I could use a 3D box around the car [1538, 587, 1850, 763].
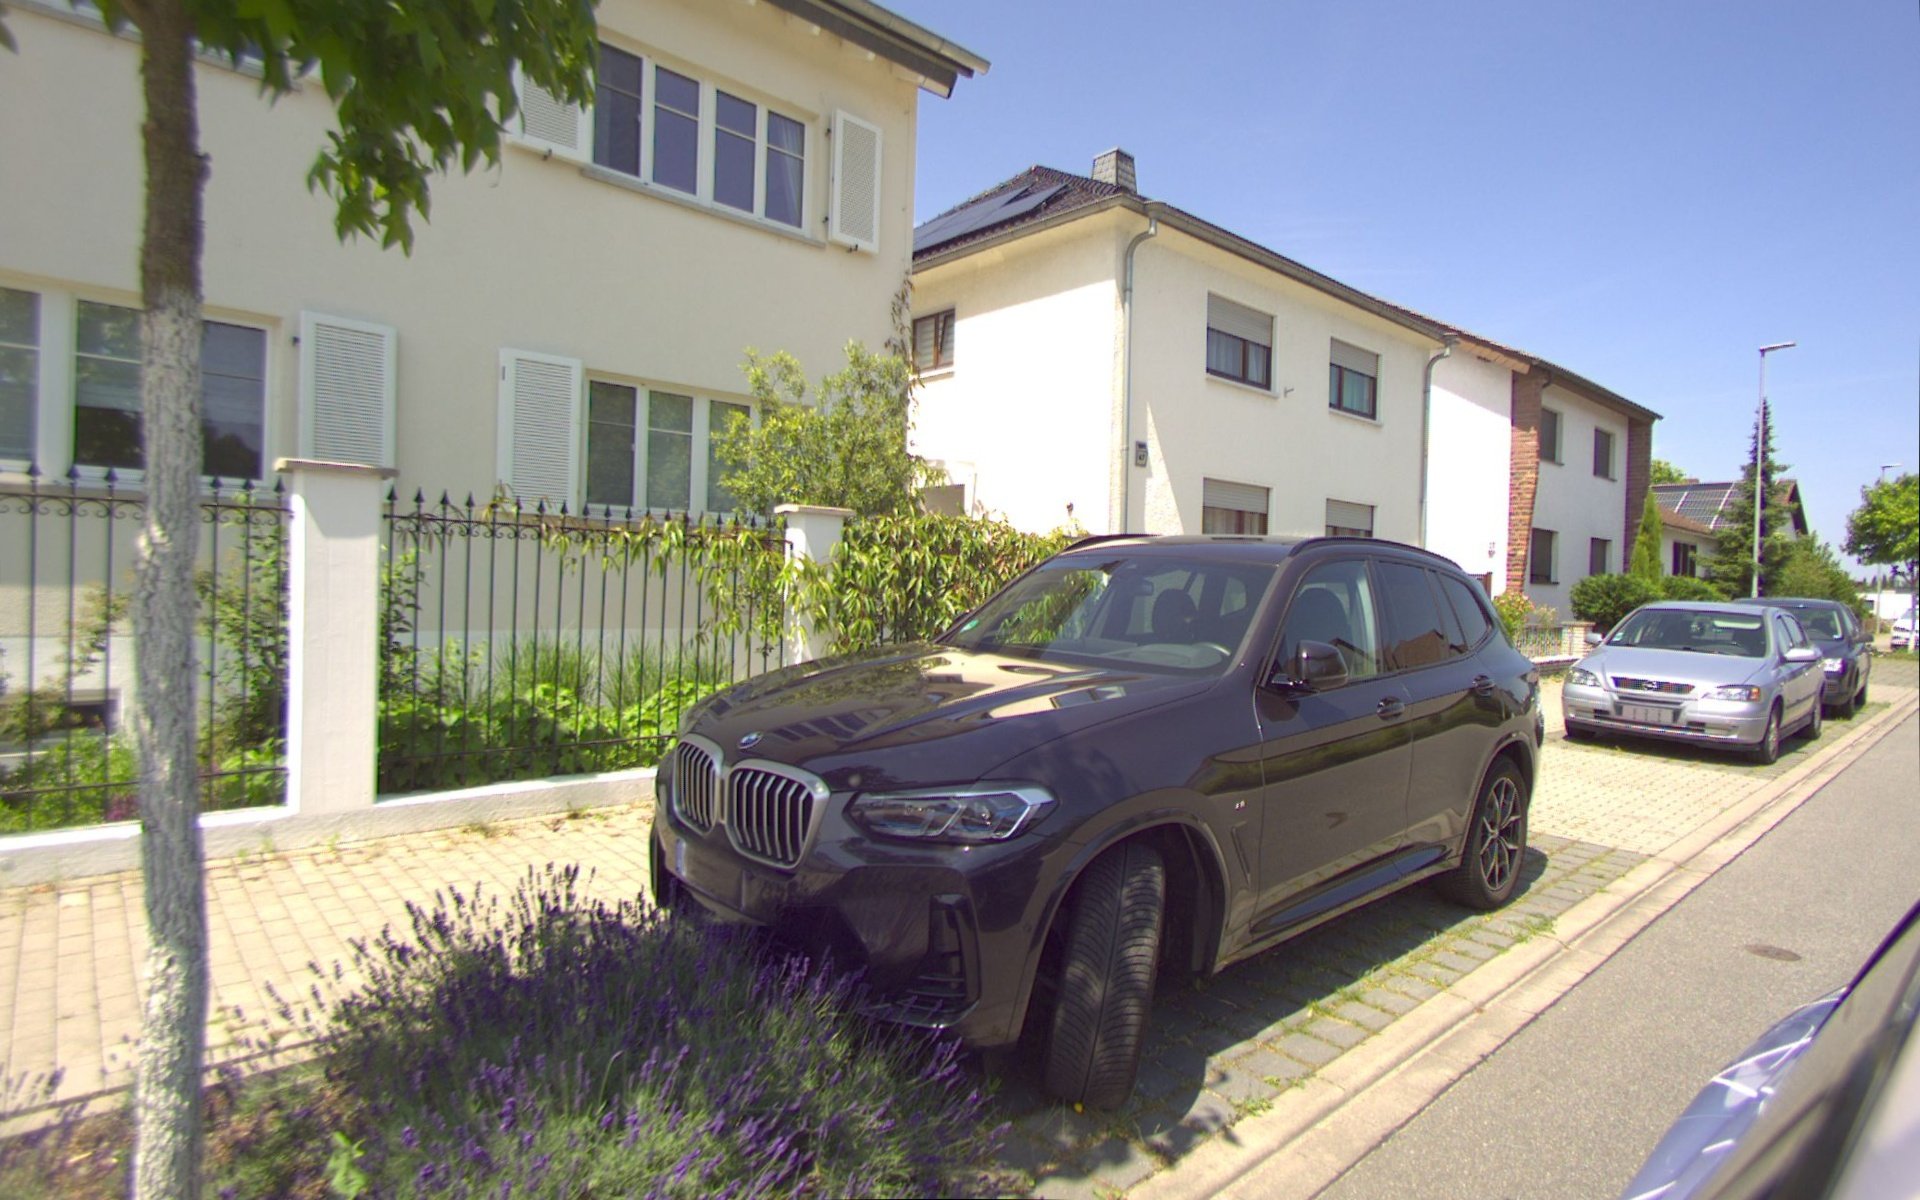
[{"bbox_3d":[7.727,0.637,10.514,4.022,1.438,1.817,1,1,-42],"label":"car"}]

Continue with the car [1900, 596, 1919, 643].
[{"bbox_3d":[31.569,0.636,32.449,3.802,1.438,1.817,1,1,-43],"label":"car"}]

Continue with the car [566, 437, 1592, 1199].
[{"bbox_3d":[0.926,0.500,4.313,4.485,1.677,1.817,1,1,-42],"label":"car"}]

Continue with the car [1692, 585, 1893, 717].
[{"bbox_3d":[11.842,0.607,14.288,4.376,1.552,1.743,0,1,-45],"label":"car"}]
